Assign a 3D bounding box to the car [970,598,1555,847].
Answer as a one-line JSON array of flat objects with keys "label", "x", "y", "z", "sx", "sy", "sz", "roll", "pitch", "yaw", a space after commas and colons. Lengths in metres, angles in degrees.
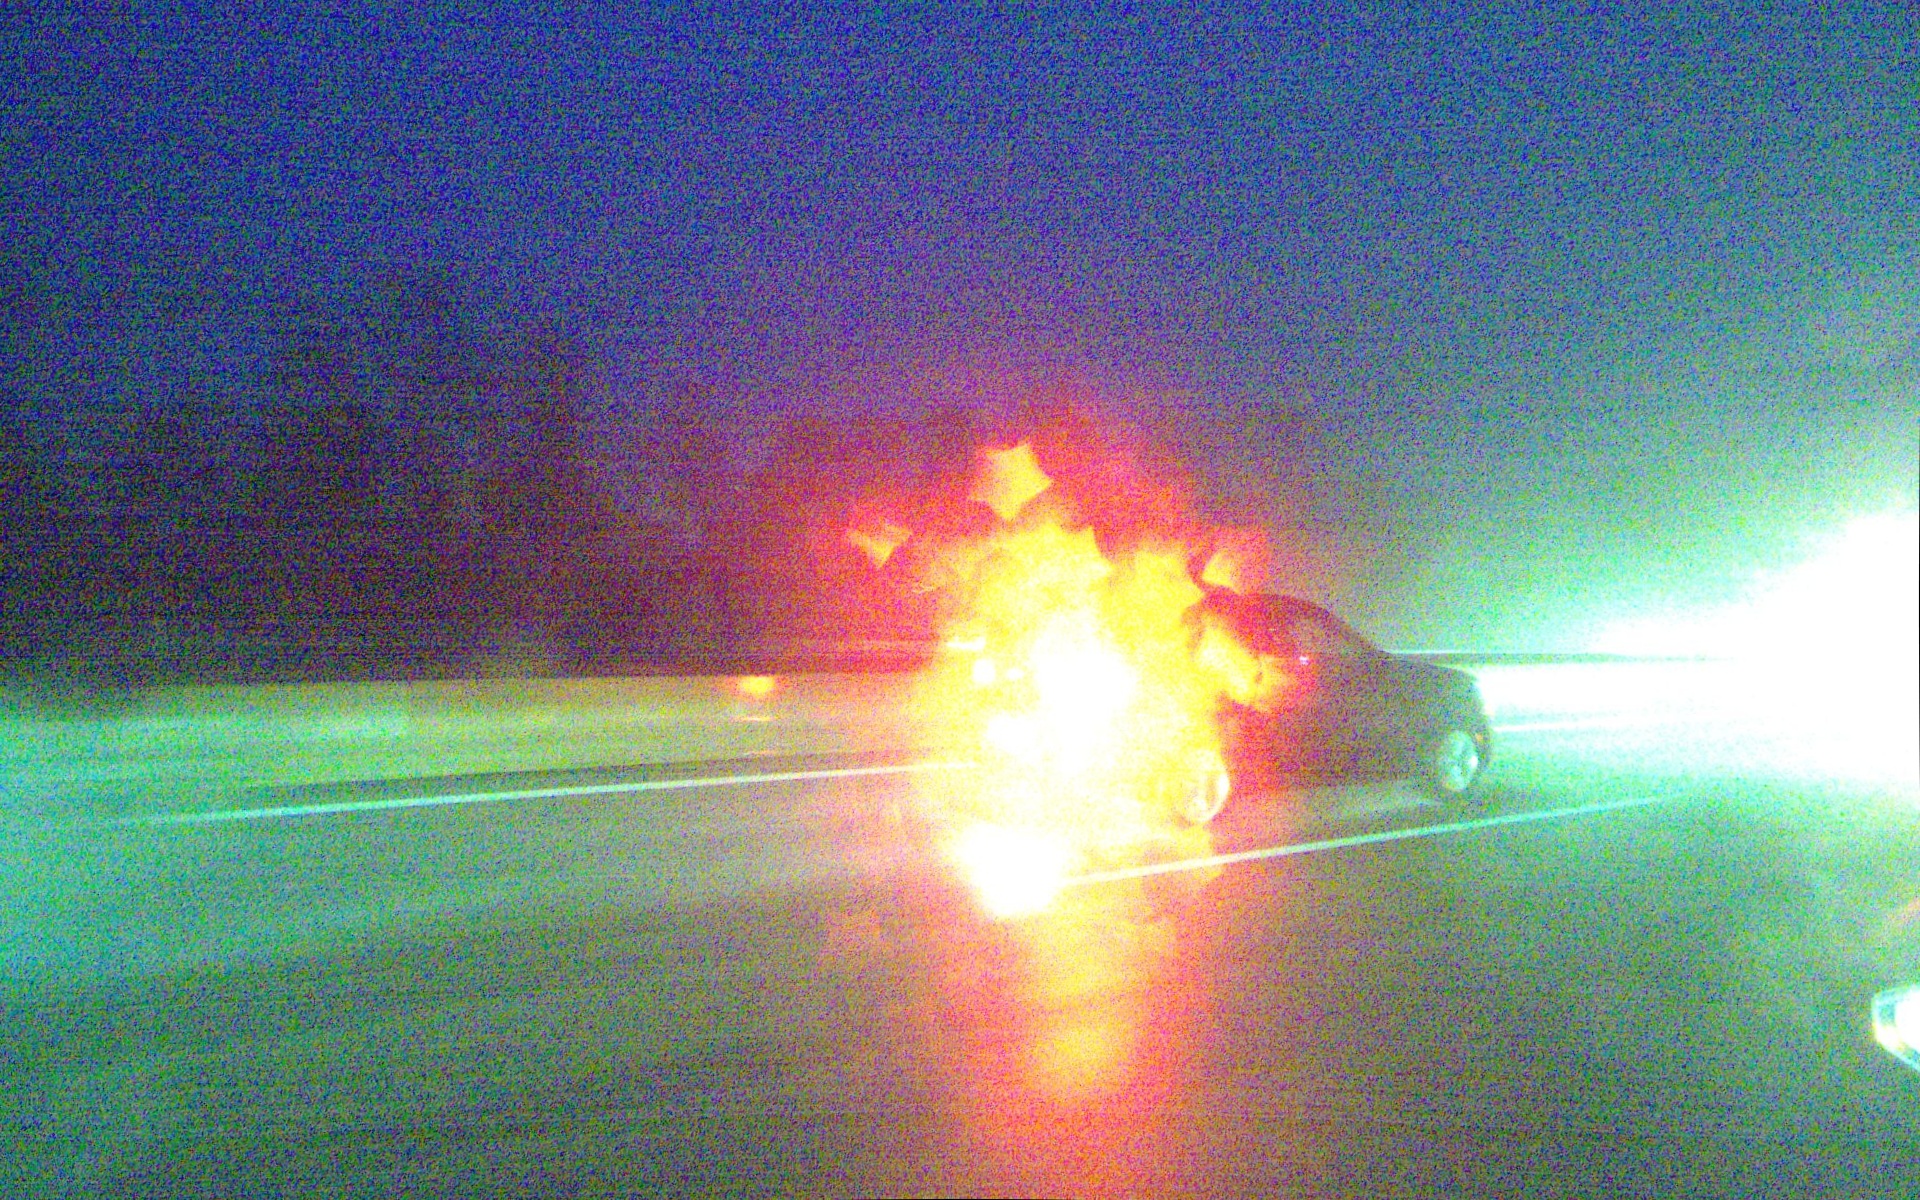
[{"label": "car", "x": 2.582, "y": 0.833, "z": 8.269, "sx": 4.692, "sy": 1.561, "sz": 1.850, "roll": 2, "pitch": -1, "yaw": -29}]
